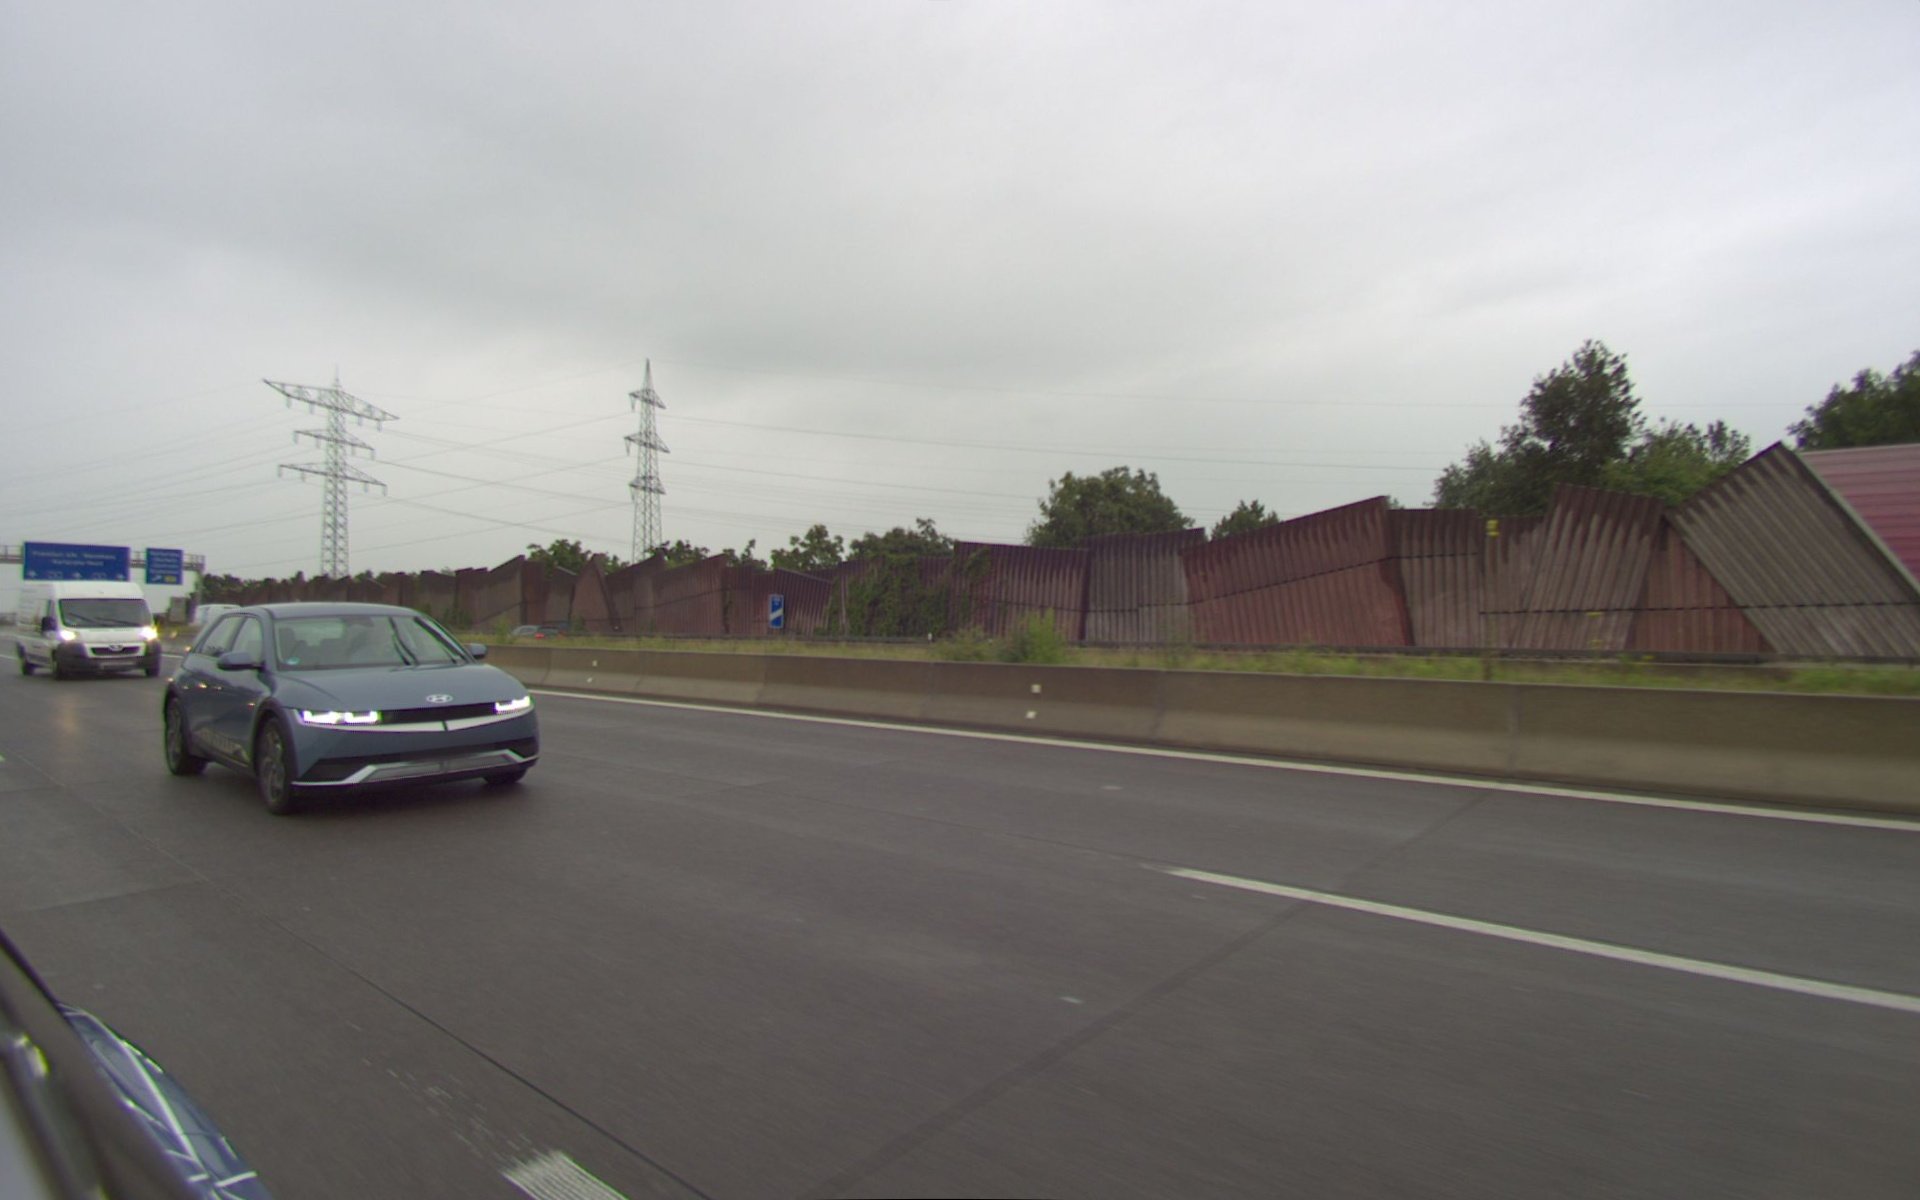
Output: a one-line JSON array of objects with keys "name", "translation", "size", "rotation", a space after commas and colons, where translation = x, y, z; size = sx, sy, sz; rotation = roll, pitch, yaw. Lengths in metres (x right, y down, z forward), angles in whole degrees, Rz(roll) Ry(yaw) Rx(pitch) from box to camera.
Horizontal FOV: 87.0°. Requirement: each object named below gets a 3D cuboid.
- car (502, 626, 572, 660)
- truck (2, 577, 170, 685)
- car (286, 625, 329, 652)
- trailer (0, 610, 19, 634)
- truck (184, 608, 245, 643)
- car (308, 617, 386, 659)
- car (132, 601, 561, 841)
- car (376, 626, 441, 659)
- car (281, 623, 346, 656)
[{"name": "car", "translation": [-23.414, 2.353, 55.926], "size": [4.263, 1.752, 1.972], "rotation": [-1, -1, 42]}, {"name": "truck", "translation": [-22.874, 0.774, 26.364], "size": [6.576, 2.498, 2.215], "rotation": [-1, 0, 39]}, {"name": "car", "translation": [-52.586, 3.072, 81.541], "size": [3.999, 2.029, 1.972], "rotation": [-1, -1, 42]}, {"name": "trailer", "translation": [-171.368, 3.997, 181.059], "size": [13.562, 4.218, 3.025], "rotation": [-1, 0, 41]}, {"name": "truck", "translation": [-48.627, 1.653, 65.953], "size": [5.417, 2.222, 2.122], "rotation": [-1, -1, 42]}, {"name": "car", "translation": [-26.678, 1.623, 44.013], "size": [3.999, 1.752, 1.834], "rotation": [-1, -1, 42]}, {"name": "car", "translation": [-5.764, 0.852, 9.168], "size": [5.152, 1.606, 1.820], "rotation": [-1, -1, 41]}, {"name": "car", "translation": [-31.626, 2.392, 58.004], "size": [4.263, 1.752, 1.972], "rotation": [-1, -1, 42]}, {"name": "car", "translation": [-36.847, 2.220, 57.642], "size": [4.465, 1.752, 1.972], "rotation": [-1, -1, 42]}]
